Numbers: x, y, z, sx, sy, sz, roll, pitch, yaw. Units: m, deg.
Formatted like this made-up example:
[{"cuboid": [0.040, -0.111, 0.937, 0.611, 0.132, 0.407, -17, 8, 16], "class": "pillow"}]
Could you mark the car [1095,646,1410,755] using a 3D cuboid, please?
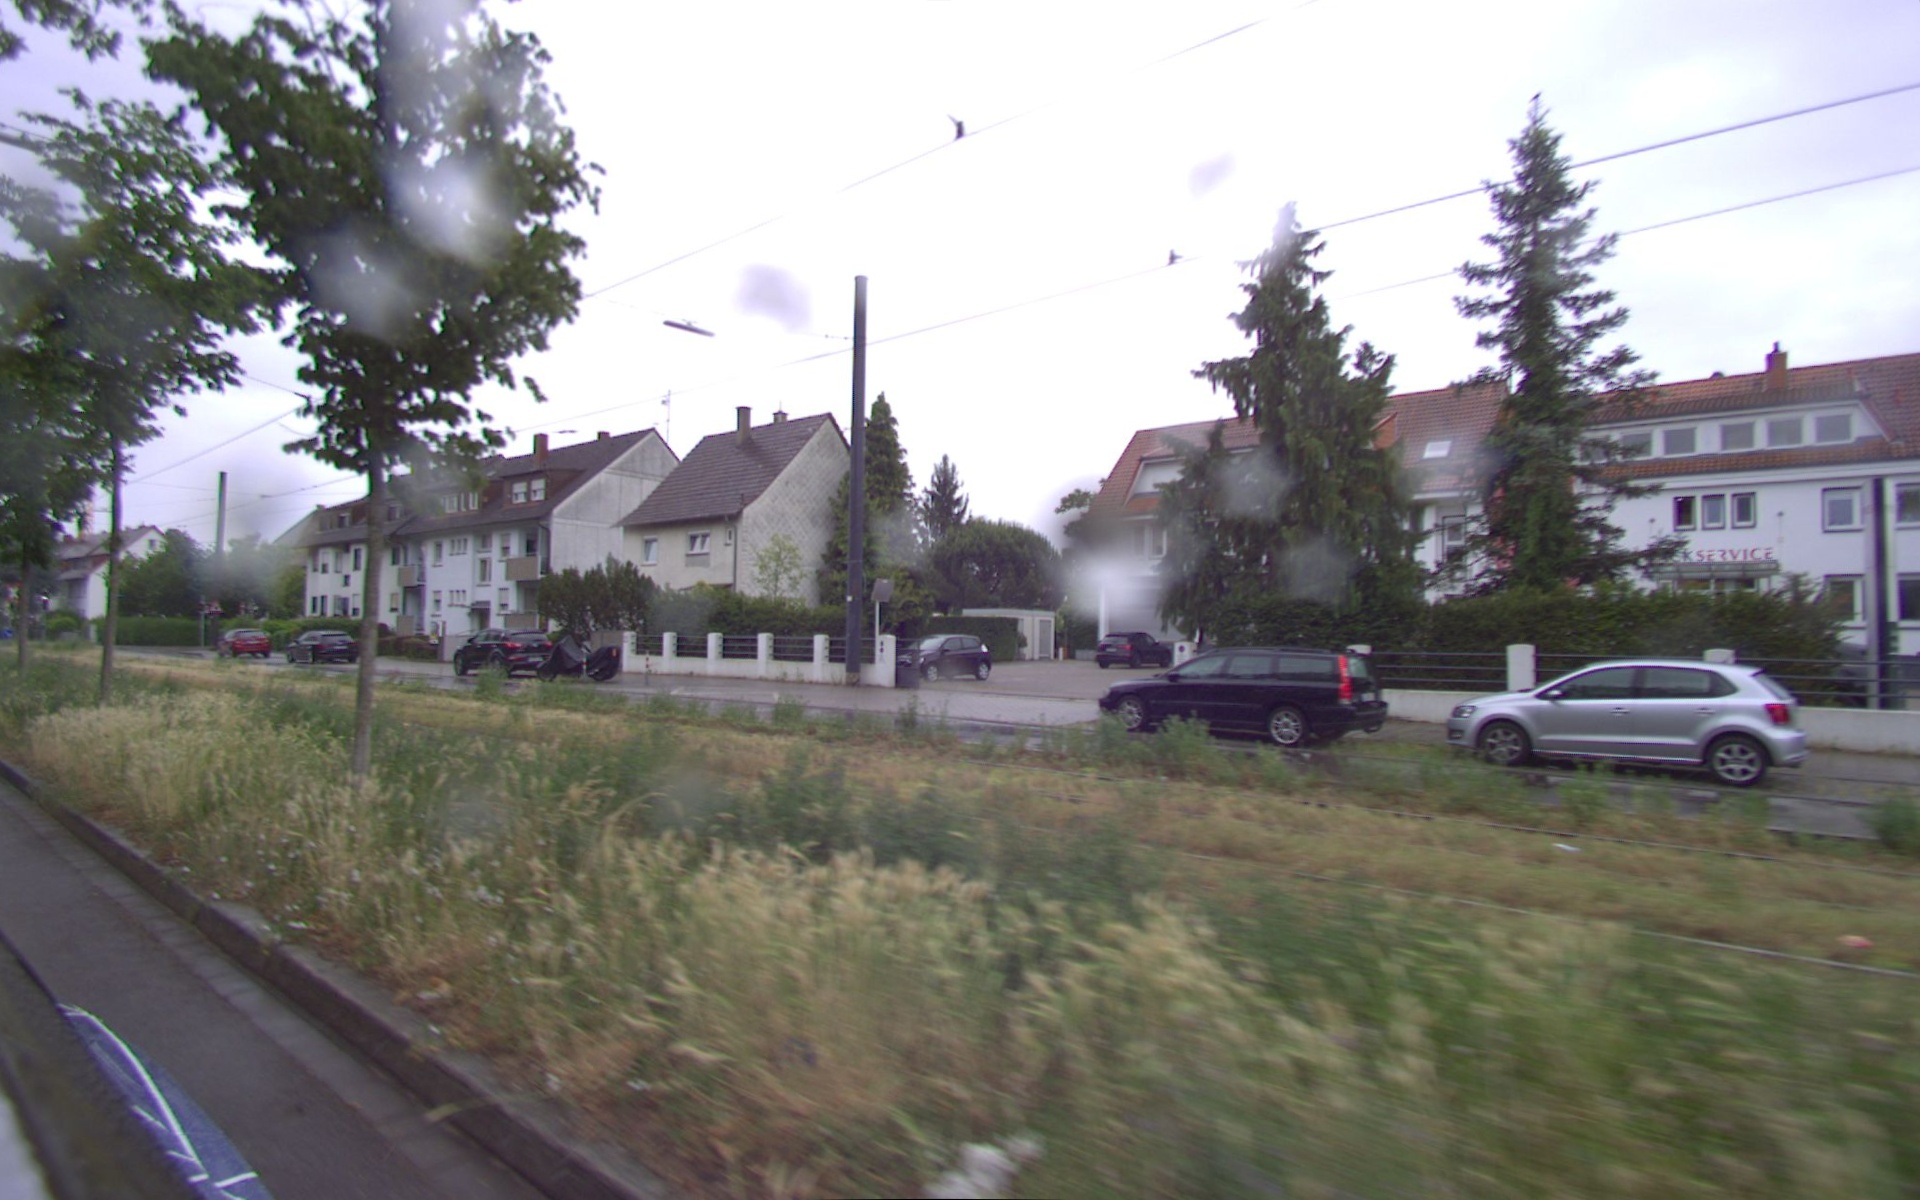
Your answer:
[{"cuboid": [4.646, 1.518, 16.498, 4.530, 1.467, 1.972, -2, -2, 42], "class": "car"}]

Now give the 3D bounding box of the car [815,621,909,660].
[{"cuboid": [-4.086, 1.682, 42.791, 1.702, 1.551, 3.919, -2, -2, 39], "class": "car"}]

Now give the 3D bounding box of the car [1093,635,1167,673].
[{"cuboid": [7.693, 2.411, 45.638, 1.701, 1.551, 3.922, -2, -2, 36], "class": "car"}]

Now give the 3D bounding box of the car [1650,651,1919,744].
[{"cuboid": [14.620, 1.639, 17.758, 3.968, 1.422, 1.681, -2, -2, 40], "class": "car"}]

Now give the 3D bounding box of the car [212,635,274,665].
[{"cuboid": [-36.951, 2.561, 52.120, 3.999, 1.468, 1.778, -2, -2, 42], "class": "car"}]

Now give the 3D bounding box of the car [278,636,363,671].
[{"cuboid": [-28.308, 2.338, 44.735, 4.760, 1.422, 1.972, -2, -2, 42], "class": "car"}]

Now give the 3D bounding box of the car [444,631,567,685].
[{"cuboid": [-15.315, 1.906, 34.031, 4.382, 1.687, 1.974, -1, -3, 39], "class": "car"}]

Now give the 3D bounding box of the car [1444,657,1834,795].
[{"cuboid": [8.721, 1.504, 13.205, 3.968, 1.422, 1.973, -2, -2, 40], "class": "car"}]

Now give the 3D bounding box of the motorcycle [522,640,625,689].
[{"cuboid": [-11.592, 1.929, 30.461, 2.645, 1.421, 1.269, 1, -1, -7], "class": "motorcycle"}]
